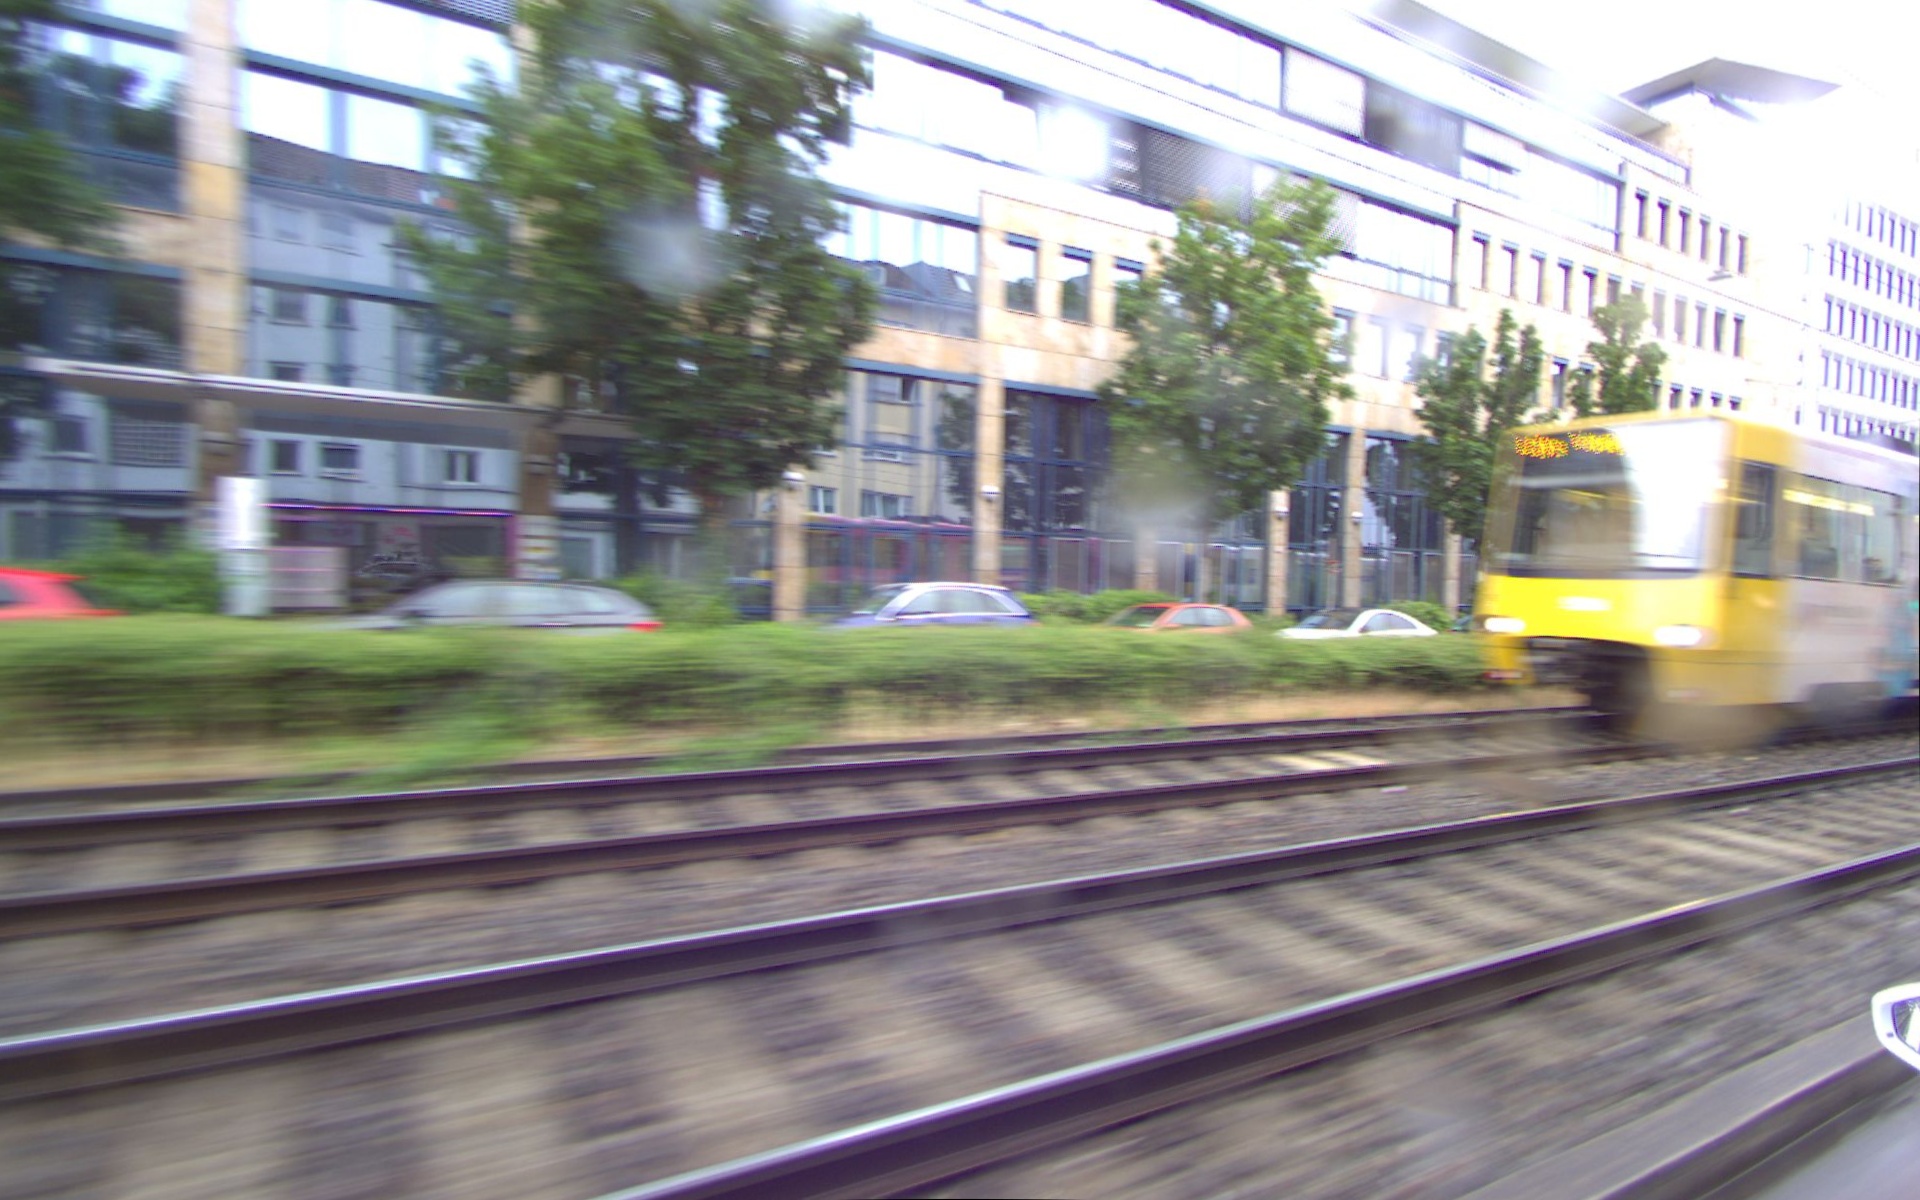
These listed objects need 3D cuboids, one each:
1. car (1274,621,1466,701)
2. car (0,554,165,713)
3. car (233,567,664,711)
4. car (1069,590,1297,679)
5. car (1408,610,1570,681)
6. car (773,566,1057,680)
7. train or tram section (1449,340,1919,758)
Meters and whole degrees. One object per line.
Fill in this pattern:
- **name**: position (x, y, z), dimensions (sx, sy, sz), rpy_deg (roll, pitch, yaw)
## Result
- **car**: position (8.884, 1.272, 21.687), dimensions (4.143, 1.518, 1.641), rpy_deg (2, 0, -30)
- **car**: position (-10.941, 0.285, 9.948), dimensions (4.567, 1.561, 1.641), rpy_deg (2, 0, -30)
- **car**: position (-6.263, 0.461, 12.711), dimensions (4.567, 1.561, 1.641), rpy_deg (2, 0, -30)
- **car**: position (4.292, 0.637, 19.118), dimensions (4.242, 1.518, 1.641), rpy_deg (2, 0, -30)
- **car**: position (12.807, 1.043, 24.277), dimensions (3.955, 1.506, 1.679), rpy_deg (1, 2, -32)
- **car**: position (-0.668, 0.360, 16.009), dimensions (4.242, 1.623, 1.641), rpy_deg (2, 0, -30)
- **train or tram section**: position (14.601, -0.224, 15.790), dimensions (18.200, 4.104, 2.887), rpy_deg (2, 0, -31)
